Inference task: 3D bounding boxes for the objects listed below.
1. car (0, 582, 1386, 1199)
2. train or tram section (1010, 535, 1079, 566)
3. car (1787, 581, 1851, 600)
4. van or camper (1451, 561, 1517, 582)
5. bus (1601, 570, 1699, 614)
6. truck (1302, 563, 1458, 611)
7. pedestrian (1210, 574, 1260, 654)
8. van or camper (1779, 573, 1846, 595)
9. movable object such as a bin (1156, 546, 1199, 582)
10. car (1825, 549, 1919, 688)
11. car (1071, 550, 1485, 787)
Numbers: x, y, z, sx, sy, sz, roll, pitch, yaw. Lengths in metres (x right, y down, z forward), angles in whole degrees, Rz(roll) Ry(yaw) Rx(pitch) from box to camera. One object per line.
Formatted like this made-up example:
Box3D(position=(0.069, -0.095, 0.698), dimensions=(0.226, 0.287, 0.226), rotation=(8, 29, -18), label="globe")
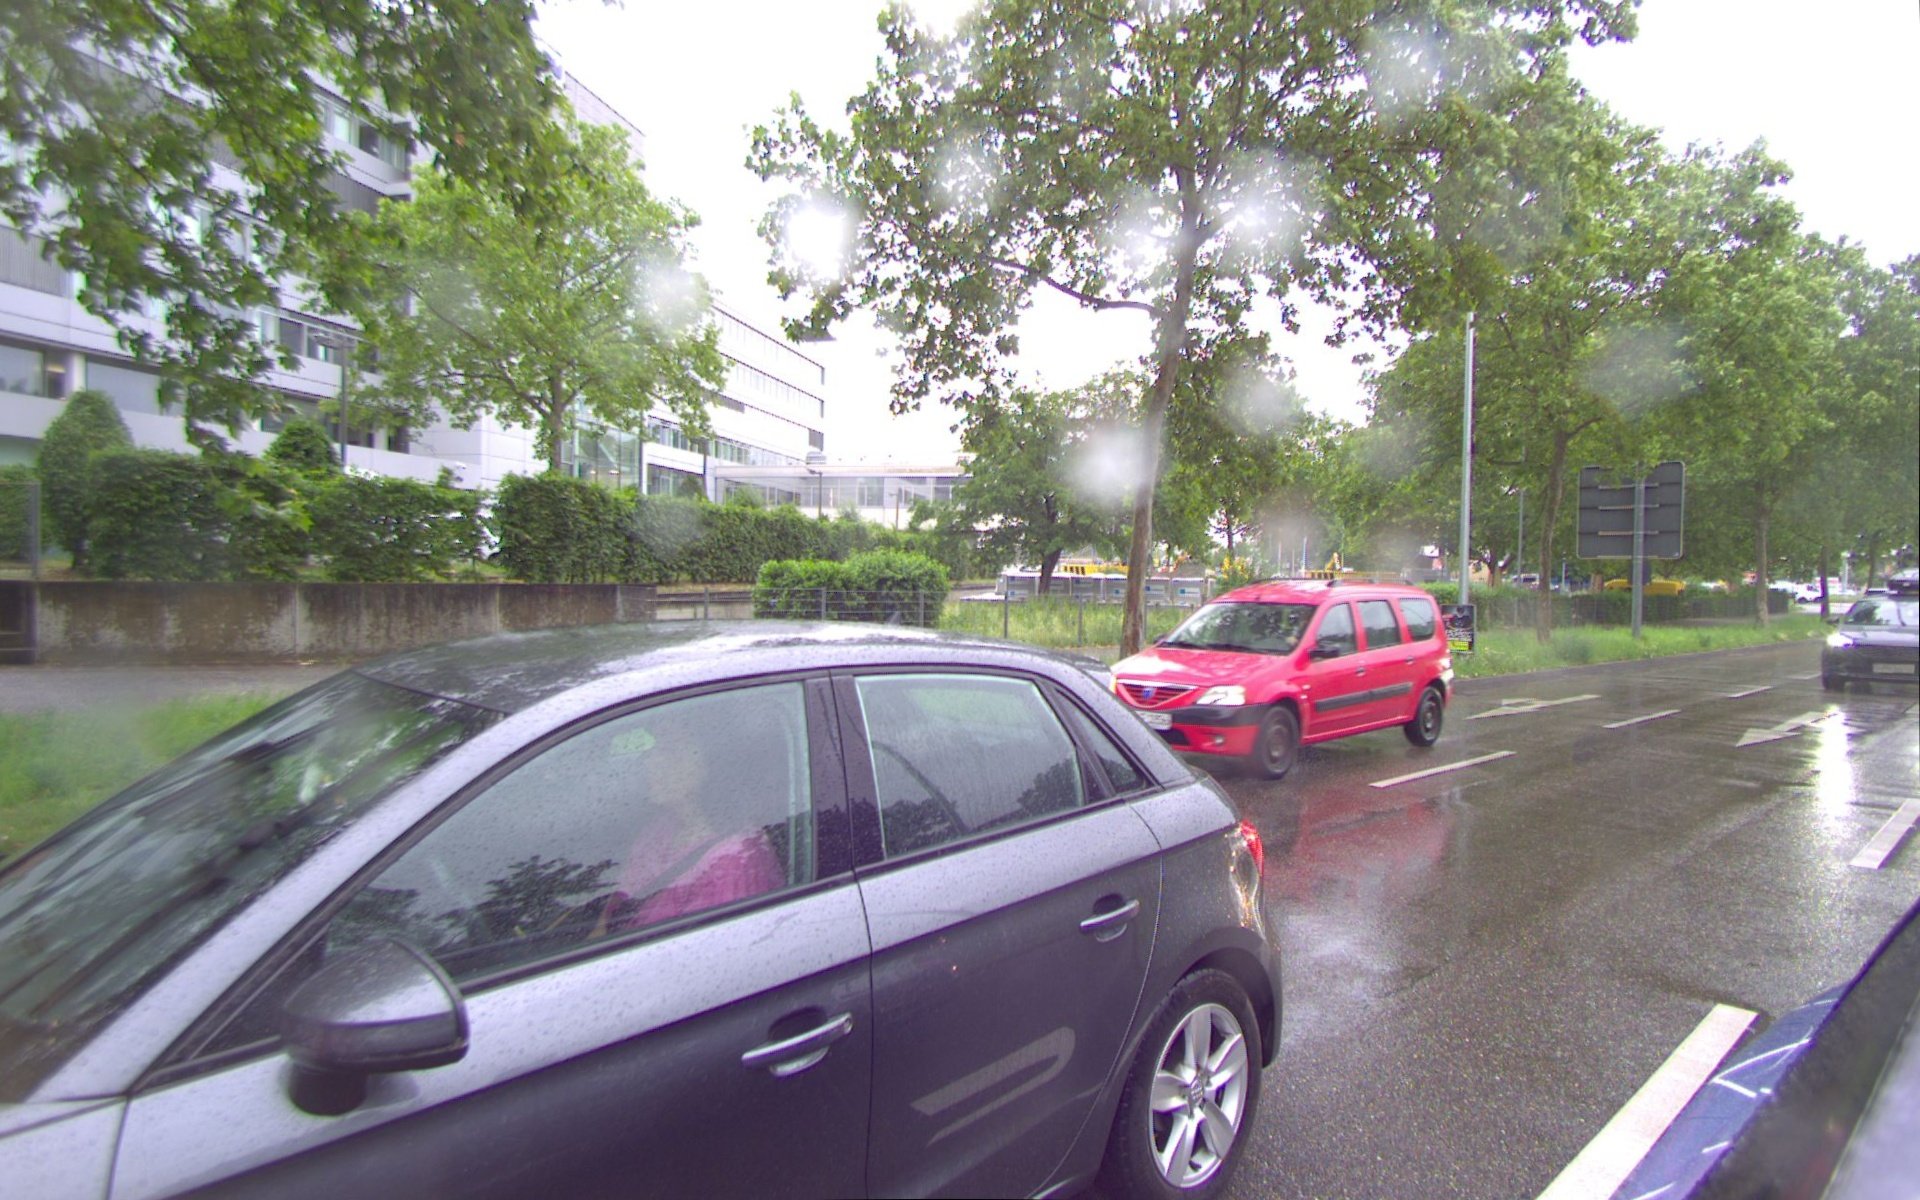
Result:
Box3D(position=(-0.937, 0.700, 2.188), dimensions=(3.932, 1.470, 1.996), rotation=(-1, 1, -43), label="car")
Box3D(position=(10.455, -6.088, 125.018), dimensions=(8.238, 3.563, 2.393), rotation=(-1, 1, 11), label="train or tram section")
Box3D(position=(84.991, -0.926, 100.146), dimensions=(4.391, 1.693, 1.863), rotation=(2, 2, 11), label="car")
Box3D(position=(84.023, -4.527, 162.476), dimensions=(8.846, 3.196, 2.976), rotation=(0, 2, 14), label="van or camper")
Box3D(position=(43.728, -0.573, 64.211), dimensions=(1.964, 2.680, 4.803), rotation=(0, 1, -39), label="bus")
Box3D(position=(28.357, -0.895, 68.763), dimensions=(9.359, 3.069, 3.070), rotation=(0, 2, 14), label="truck")
Box3D(position=(6.299, 0.301, 23.161), dimensions=(0.664, 1.784, 1.059), rotation=(1, 1, 43), label="pedestrian")
Box3D(position=(86.817, -1.616, 103.083), dimensions=(4.830, 2.114, 1.863), rotation=(2, 2, 11), label="van or camper")
Box3D(position=(22.393, -3.703, 104.422), dimensions=(3.253, 3.670, 3.618), rotation=(0, 2, -6), label="movable object such as a bin")
Box3D(position=(16.465, 0.269, 17.261), dimensions=(4.478, 2.159, 1.934), rotation=(-1, 0, -41), label="car")
Box3D(position=(3.235, 0.476, 9.774), dimensions=(4.478, 1.791, 1.699), rotation=(-1, 2, -41), label="car")
